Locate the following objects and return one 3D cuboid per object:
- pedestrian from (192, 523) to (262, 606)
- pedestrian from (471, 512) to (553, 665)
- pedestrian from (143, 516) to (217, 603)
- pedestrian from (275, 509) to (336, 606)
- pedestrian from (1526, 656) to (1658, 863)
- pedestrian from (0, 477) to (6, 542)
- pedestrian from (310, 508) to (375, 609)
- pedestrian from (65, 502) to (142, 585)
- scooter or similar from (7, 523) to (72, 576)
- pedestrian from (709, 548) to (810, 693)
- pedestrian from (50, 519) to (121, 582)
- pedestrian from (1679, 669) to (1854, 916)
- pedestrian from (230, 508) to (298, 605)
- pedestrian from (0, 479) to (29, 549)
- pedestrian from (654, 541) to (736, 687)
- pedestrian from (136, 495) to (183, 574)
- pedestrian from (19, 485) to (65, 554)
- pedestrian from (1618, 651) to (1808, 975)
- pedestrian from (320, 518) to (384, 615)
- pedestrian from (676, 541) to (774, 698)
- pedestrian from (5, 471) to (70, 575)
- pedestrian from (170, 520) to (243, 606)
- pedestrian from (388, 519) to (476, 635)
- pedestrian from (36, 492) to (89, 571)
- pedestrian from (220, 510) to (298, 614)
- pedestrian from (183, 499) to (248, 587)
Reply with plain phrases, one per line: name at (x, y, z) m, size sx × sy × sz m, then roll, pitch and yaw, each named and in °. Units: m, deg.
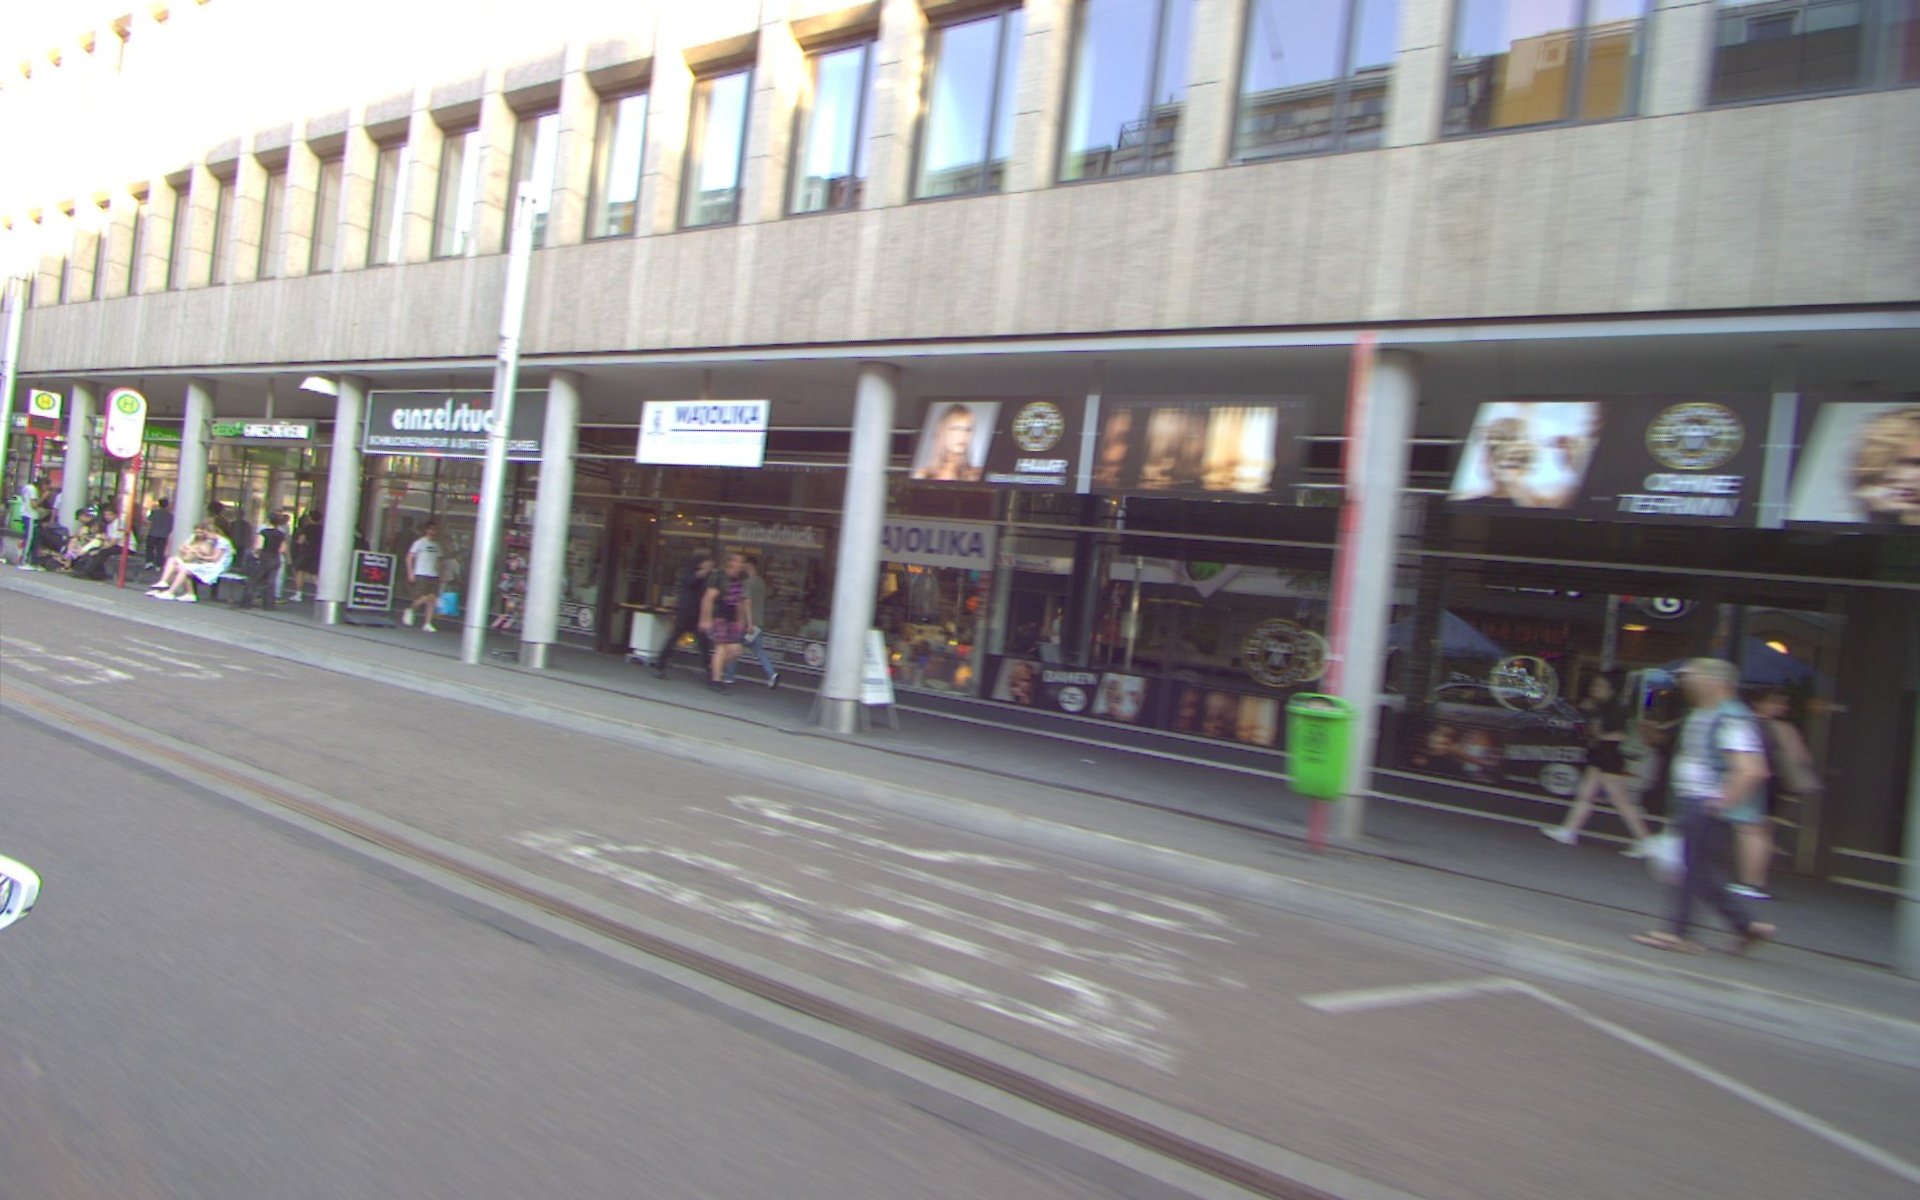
pedestrian at (-12.789, -0.615, 17.555) m, size 0.523 × 1.330 × 0.719 m, roll 6°, pitch -1°, yaw 32°
pedestrian at (-6.032, -0.150, 13.547) m, size 0.644 × 1.968 × 0.578 m, roll 6°, pitch 1°, yaw 30°
pedestrian at (-13.063, -0.673, 16.859) m, size 0.523 × 1.330 × 0.719 m, roll 6°, pitch -1°, yaw 32°
pedestrian at (-12.775, -0.827, 19.641) m, size 0.760 × 1.775 × 0.583 m, roll 7°, pitch 1°, yaw 29°
pedestrian at (5.637, 1.383, 9.026) m, size 0.805 × 1.665 × 0.711 m, roll 6°, pitch 1°, yaw 29°
pedestrian at (-25.237, -2.298, 26.021) m, size 0.594 × 1.829 × 0.539 m, roll 7°, pitch 1°, yaw 29°
pedestrian at (-12.383, -0.822, 20.182) m, size 0.760 × 1.906 × 0.688 m, roll 7°, pitch 1°, yaw 29°
pedestrian at (-15.893, -1.049, 18.678) m, size 0.651 × 1.397 × 0.814 m, roll 6°, pitch -1°, yaw 32°
scooter or similar at (-18.201, -0.998, 19.899) m, size 0.678 × 0.894 × 0.832 m, roll 6°, pitch -2°, yaw 44°
pedestrian at (-2.828, 0.293, 14.219) m, size 0.884 × 1.913 × 0.845 m, roll 6°, pitch 1°, yaw 31°
pedestrian at (-16.650, -0.936, 19.171) m, size 0.535 × 1.055 × 0.814 m, roll 6°, pitch -1°, yaw 32°
pedestrian at (6.062, 1.402, 7.615) m, size 0.775 × 1.665 × 0.681 m, roll 6°, pitch 1°, yaw 29°
pedestrian at (-12.780, -0.796, 18.465) m, size 0.710 × 1.682 × 0.688 m, roll 6°, pitch 1°, yaw 32°
pedestrian at (-25.921, -2.347, 27.326) m, size 0.707 × 1.809 × 0.663 m, roll 6°, pitch 1°, yaw 31°
pedestrian at (-3.635, 0.198, 13.803) m, size 0.672 × 1.913 × 0.616 m, roll 6°, pitch 1°, yaw 32°
pedestrian at (-18.815, -1.527, 23.646) m, size 0.607 × 1.753 × 0.571 m, roll 7°, pitch 1°, yaw 29°
pedestrian at (-25.532, -2.235, 27.967) m, size 0.707 × 1.809 × 0.663 m, roll 6°, pitch 1°, yaw 31°
pedestrian at (4.187, 1.139, 5.647) m, size 0.627 × 1.606 × 0.670 m, roll 7°, pitch -1°, yaw 30°
pedestrian at (-11.194, -0.608, 18.527) m, size 0.669 × 1.682 × 0.648 m, roll 7°, pitch 1°, yaw 32°
pedestrian at (-3.033, 0.260, 13.000) m, size 0.783 × 1.913 × 0.707 m, roll 6°, pitch 1°, yaw 31°
pedestrian at (-17.451, -1.452, 19.029) m, size 0.657 × 1.863 × 0.640 m, roll 7°, pitch 1°, yaw 31°
pedestrian at (-12.527, -0.609, 16.735) m, size 0.516 × 1.330 × 0.719 m, roll 6°, pitch -1°, yaw 32°
pedestrian at (-8.810, -0.377, 16.789) m, size 0.844 × 1.820 × 0.845 m, roll 6°, pitch 1°, yaw 31°
pedestrian at (-20.396, -1.552, 22.865) m, size 0.639 × 1.682 × 0.648 m, roll 7°, pitch 1°, yaw 31°
pedestrian at (-11.509, -0.613, 16.523) m, size 0.724 × 1.590 × 0.725 m, roll 6°, pitch 1°, yaw 32°
pedestrian at (-16.321, -1.239, 22.056) m, size 0.761 × 1.794 × 0.774 m, roll 6°, pitch 1°, yaw 29°
